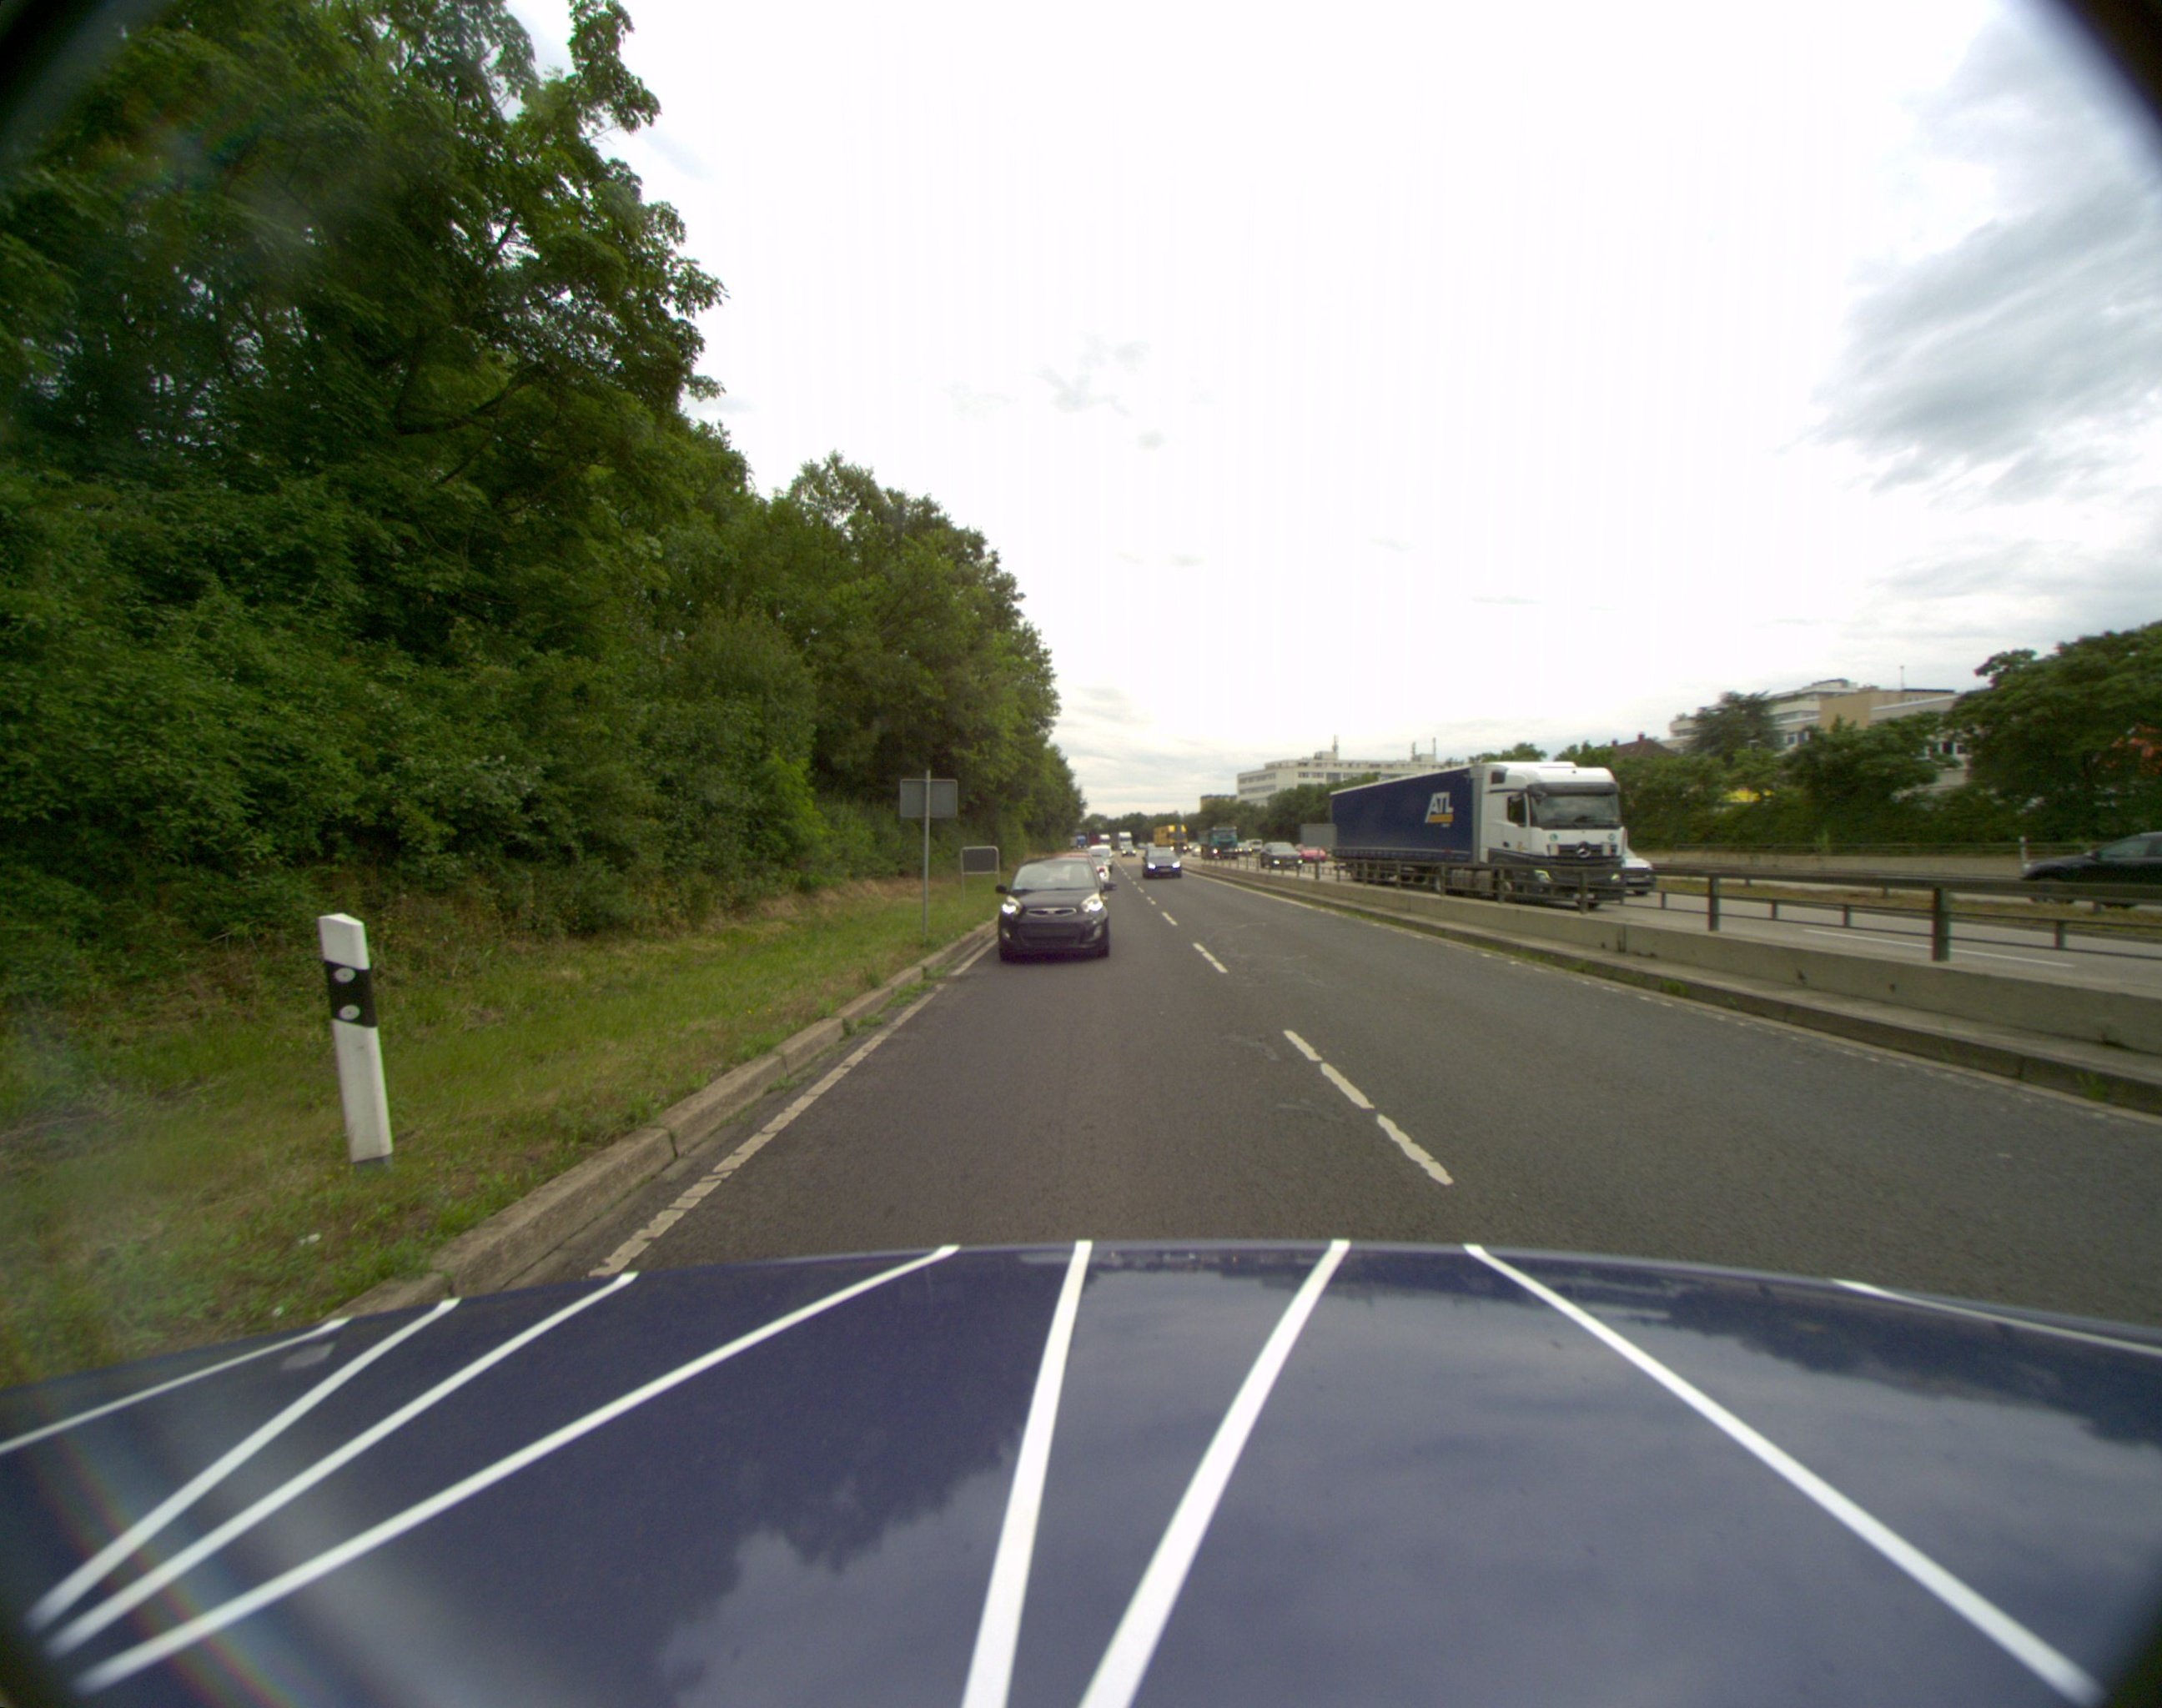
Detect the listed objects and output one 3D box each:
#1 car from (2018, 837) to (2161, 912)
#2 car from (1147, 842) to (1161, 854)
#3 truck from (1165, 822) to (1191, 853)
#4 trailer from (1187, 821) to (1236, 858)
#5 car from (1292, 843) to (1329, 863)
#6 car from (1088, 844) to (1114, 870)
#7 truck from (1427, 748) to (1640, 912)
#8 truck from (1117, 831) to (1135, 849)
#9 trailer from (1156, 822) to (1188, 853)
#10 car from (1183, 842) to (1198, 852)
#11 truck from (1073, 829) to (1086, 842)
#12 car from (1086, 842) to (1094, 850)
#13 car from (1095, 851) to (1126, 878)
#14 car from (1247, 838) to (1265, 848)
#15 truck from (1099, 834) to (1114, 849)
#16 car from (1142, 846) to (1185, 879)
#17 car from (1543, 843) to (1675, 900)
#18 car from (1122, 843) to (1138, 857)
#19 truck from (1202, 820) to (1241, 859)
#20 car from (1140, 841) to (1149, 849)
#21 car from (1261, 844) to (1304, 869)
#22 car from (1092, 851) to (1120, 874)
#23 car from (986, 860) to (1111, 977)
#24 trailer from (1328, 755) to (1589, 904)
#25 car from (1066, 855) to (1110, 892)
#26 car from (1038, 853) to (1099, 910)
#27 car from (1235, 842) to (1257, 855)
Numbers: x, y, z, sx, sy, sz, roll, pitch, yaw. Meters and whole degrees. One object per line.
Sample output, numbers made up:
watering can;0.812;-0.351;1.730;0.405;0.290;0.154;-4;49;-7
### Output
car;23.829;0.434;16.263;1.627;1.543;4.839;-2;1;1
car;13.032;-1.114;135.867;1.998;2.002;4.000;-2;1;1
truck;13.809;-2.320;108.503;2.893;4.319;6.518;0;1;1
trailer;13.671;-1.504;81.187;2.613;3.620;16.748;0;1;1
car;17.269;-0.100;57.381;1.627;1.433;4.000;-2;1;1
car;1.498;0.199;57.636;1.769;1.786;4.577;-2;1;1
truck;12.536;-0.621;21.771;2.531;4.013;6.096;0;1;1
truck;10.343;-3.154;176.681;2.957;4.013;13.774;0;1;-1
trailer;13.951;-2.454;117.709;2.897;4.328;19.920;0;1;1
car;17.611;-1.084;122.003;1.784;1.554;4.421;-2;1;1
truck;-0.568;-5.999;250.296;2.532;4.013;13.766;-1;1;-8
car;2.044;-1.958;178.156;1.769;1.786;4.577;-2;1;1
car;1.606;0.551;42.484;1.627;1.337;4.000;-2;1;1
car;25.785;-1.610;111.990;1.733;1.503;3.896;-2;1;1
truck;7.076;-3.502;212.547;2.532;4.013;13.769;0;1;-6
car;4.215;0.400;39.318;1.784;1.554;4.421;-2;1;1
car;17.131;0.503;24.880;1.627;1.660;3.896;-2;1;1
car;6.559;-0.598;101.794;1.769;1.786;4.577;-2;1;1
truck;13.540;-1.409;73.568;2.645;3.614;6.667;0;1;1
car;15.040;-2.140;180.474;1.998;2.002;4.000;0;1;1
car;12.562;0.118;47.575;1.627;1.433;4.000;-2;1;1
car;1.570;0.504;48.120;1.627;1.337;4.000;-2;1;1
car;-0.398;0.879;12.200;1.627;1.433;4.000;-2;1;1
trailer;12.625;-0.764;27.999;2.531;4.013;14.782;0;1;1
car;0.304;0.749;31.155;1.627;1.337;4.000;-2;1;1
car;-0.304;0.749;22.661;1.627;1.433;4.000;-2;1;1
car;19.030;-0.685;87.827;1.627;1.433;4.000;-2;1;1
